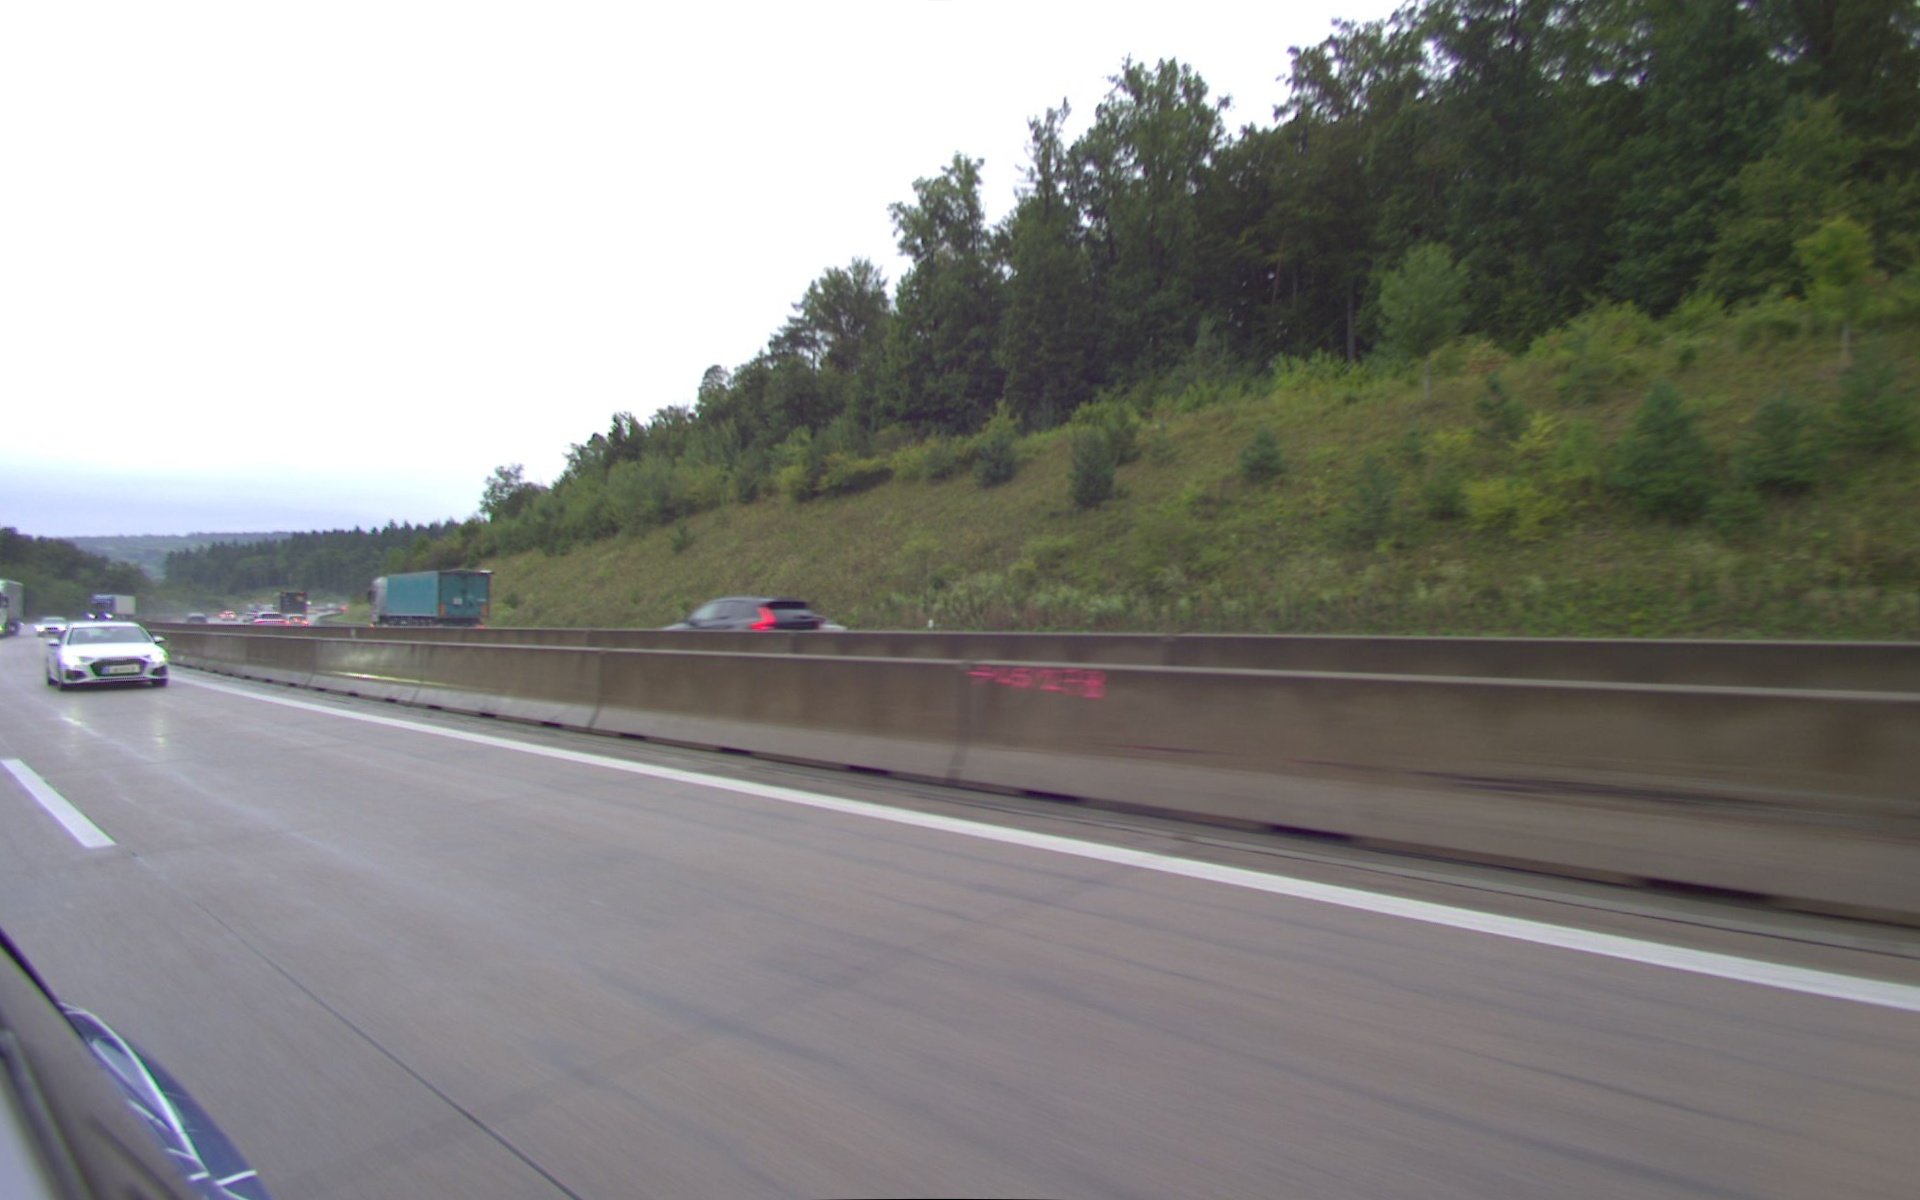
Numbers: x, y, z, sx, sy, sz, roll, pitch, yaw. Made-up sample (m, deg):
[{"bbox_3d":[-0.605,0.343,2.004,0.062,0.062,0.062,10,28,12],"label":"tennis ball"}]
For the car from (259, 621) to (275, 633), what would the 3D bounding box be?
[{"bbox_3d":[-118.421,4.573,172.933,1.968,2.029,4.007,0,-1,-40],"label":"car"}]

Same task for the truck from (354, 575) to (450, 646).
[{"bbox_3d":[-32.811,0.643,59.395,7.366,3.918,2.874,-1,-1,44],"label":"truck"}]

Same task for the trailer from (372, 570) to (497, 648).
[{"bbox_3d":[-29.093,0.544,55.686,11.041,3.918,2.874,-1,-1,45],"label":"trailer"}]

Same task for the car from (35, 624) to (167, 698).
[{"bbox_3d":[-19.131,1.280,22.456,4.936,1.418,1.693,-2,-1,43],"label":"car"}]

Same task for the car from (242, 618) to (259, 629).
[{"bbox_3d":[-107.911,3.573,153.916,1.966,1.597,4.785,0,-1,-33],"label":"car"}]

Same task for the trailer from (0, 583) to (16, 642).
[{"bbox_3d":[-72.269,1.050,75.098,2.647,4.071,13.723,-3,1,-41],"label":"trailer"}]

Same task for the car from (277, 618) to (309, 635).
[{"bbox_3d":[-59.001,2.317,89.543,1.710,1.504,4.004,1,-1,-43],"label":"car"}]

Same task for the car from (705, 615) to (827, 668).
[{"bbox_3d":[-6.274,1.285,32.446,4.244,1.588,1.712,-1,-1,43],"label":"car"}]

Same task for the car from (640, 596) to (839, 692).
[{"bbox_3d":[-4.721,0.875,21.211,4.759,1.790,1.712,-1,-1,43],"label":"car"}]

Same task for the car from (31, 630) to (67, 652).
[{"bbox_3d":[-67.824,3.033,75.346,1.824,1.494,4.452,0,-1,-45],"label":"car"}]

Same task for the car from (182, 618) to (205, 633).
[{"bbox_3d":[-83.686,2.781,110.503,1.709,1.504,4.006,1,-1,-41],"label":"car"}]

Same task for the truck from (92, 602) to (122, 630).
[{"bbox_3d":[-132.792,2.509,157.587,2.694,4.183,8.642,-1,-1,-35],"label":"truck"}]

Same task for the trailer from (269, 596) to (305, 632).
[{"bbox_3d":[-78.858,1.666,118.452,2.888,3.990,13.495,0,-1,-36],"label":"trailer"}]

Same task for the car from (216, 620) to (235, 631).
[{"bbox_3d":[-116.078,4.027,160.021,1.966,1.597,4.786,0,-1,-31],"label":"car"}]

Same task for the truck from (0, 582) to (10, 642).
[{"bbox_3d":[-67.669,0.922,69.833,2.688,4.071,5.760,-3,1,-41],"label":"truck"}]

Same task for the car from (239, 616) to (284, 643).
[{"bbox_3d":[-48.616,2.028,70.406,4.760,1.790,1.711,-1,-1,44],"label":"car"}]
